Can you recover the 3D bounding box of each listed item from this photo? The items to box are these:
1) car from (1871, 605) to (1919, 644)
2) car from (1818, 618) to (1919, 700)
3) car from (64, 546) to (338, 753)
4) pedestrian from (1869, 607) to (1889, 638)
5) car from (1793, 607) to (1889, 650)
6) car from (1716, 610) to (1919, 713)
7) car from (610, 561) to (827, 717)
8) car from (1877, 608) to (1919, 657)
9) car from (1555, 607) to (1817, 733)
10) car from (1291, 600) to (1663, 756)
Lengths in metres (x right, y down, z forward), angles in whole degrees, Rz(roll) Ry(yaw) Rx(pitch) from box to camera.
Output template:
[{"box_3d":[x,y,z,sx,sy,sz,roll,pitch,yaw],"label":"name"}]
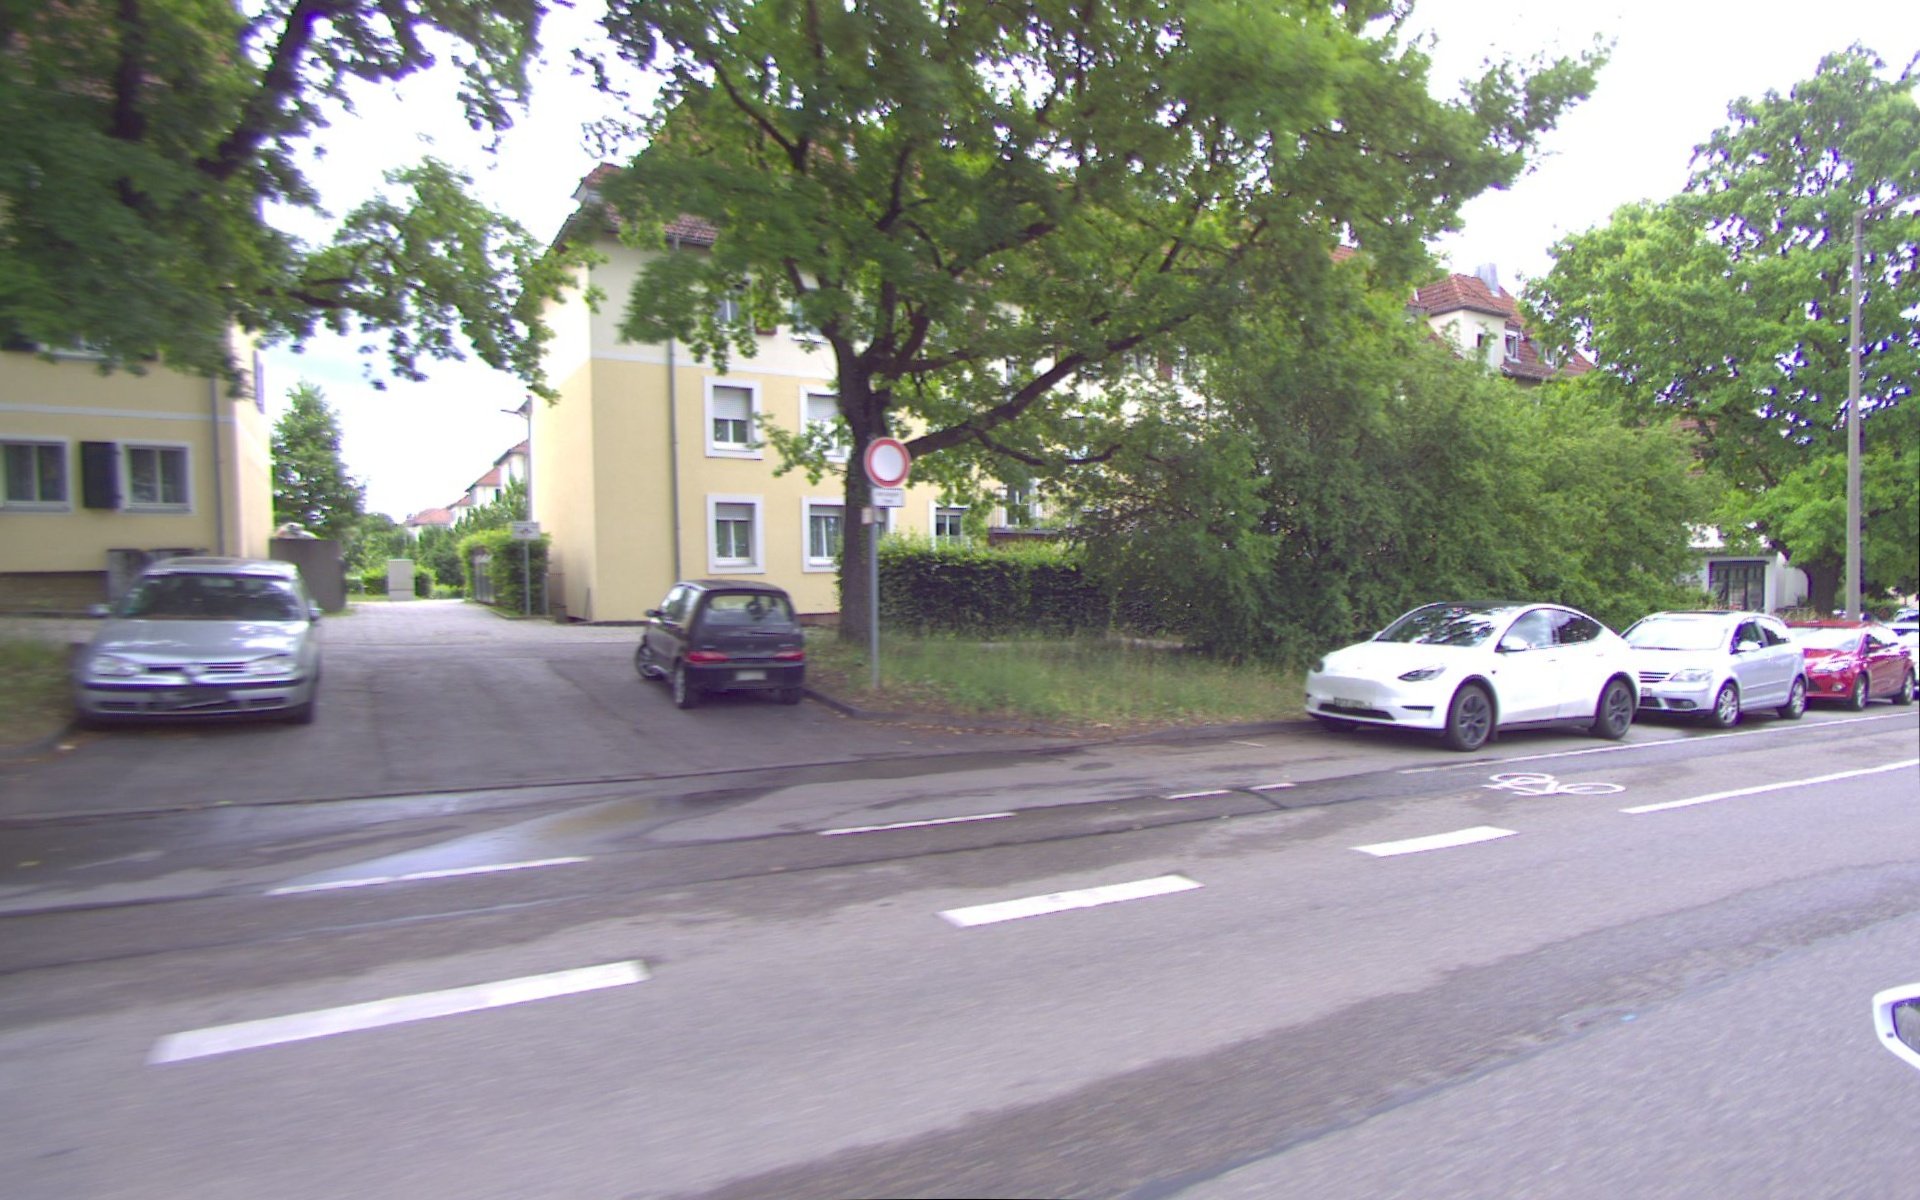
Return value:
[{"box_3d":[43.208,1.082,45.662,4.246,1.655,1.749,1,1,-36],"label":"car"},{"box_3d":[19.733,1.171,20.862,4.707,1.479,1.704,1,1,-34],"label":"car"},{"box_3d":[-7.547,0.311,10.398,1.848,1.470,4.406,1,5,-32],"label":"car"},{"box_3d":[49.217,1.199,53.805,0.822,1.635,0.625,0,2,-38],"label":"pedestrian"},{"box_3d":[34.323,1.082,39.115,4.396,1.490,1.750,1,3,-35],"label":"car"},{"box_3d":[15.344,1.023,17.863,4.325,1.594,1.704,1,1,-34],"label":"car"},{"box_3d":[-3.361,0.362,13.233,1.862,1.474,4.416,1,4,-26],"label":"car"},{"box_3d":[35.318,1.195,36.606,3.956,1.655,1.751,1,3,-33],"label":"car"},{"box_3d":[10.866,0.952,14.964,4.077,1.594,1.857,1,1,-34],"label":"car"},{"box_3d":[6.372,0.846,12.228,4.703,1.594,1.759,1,-1,-30],"label":"car"}]
